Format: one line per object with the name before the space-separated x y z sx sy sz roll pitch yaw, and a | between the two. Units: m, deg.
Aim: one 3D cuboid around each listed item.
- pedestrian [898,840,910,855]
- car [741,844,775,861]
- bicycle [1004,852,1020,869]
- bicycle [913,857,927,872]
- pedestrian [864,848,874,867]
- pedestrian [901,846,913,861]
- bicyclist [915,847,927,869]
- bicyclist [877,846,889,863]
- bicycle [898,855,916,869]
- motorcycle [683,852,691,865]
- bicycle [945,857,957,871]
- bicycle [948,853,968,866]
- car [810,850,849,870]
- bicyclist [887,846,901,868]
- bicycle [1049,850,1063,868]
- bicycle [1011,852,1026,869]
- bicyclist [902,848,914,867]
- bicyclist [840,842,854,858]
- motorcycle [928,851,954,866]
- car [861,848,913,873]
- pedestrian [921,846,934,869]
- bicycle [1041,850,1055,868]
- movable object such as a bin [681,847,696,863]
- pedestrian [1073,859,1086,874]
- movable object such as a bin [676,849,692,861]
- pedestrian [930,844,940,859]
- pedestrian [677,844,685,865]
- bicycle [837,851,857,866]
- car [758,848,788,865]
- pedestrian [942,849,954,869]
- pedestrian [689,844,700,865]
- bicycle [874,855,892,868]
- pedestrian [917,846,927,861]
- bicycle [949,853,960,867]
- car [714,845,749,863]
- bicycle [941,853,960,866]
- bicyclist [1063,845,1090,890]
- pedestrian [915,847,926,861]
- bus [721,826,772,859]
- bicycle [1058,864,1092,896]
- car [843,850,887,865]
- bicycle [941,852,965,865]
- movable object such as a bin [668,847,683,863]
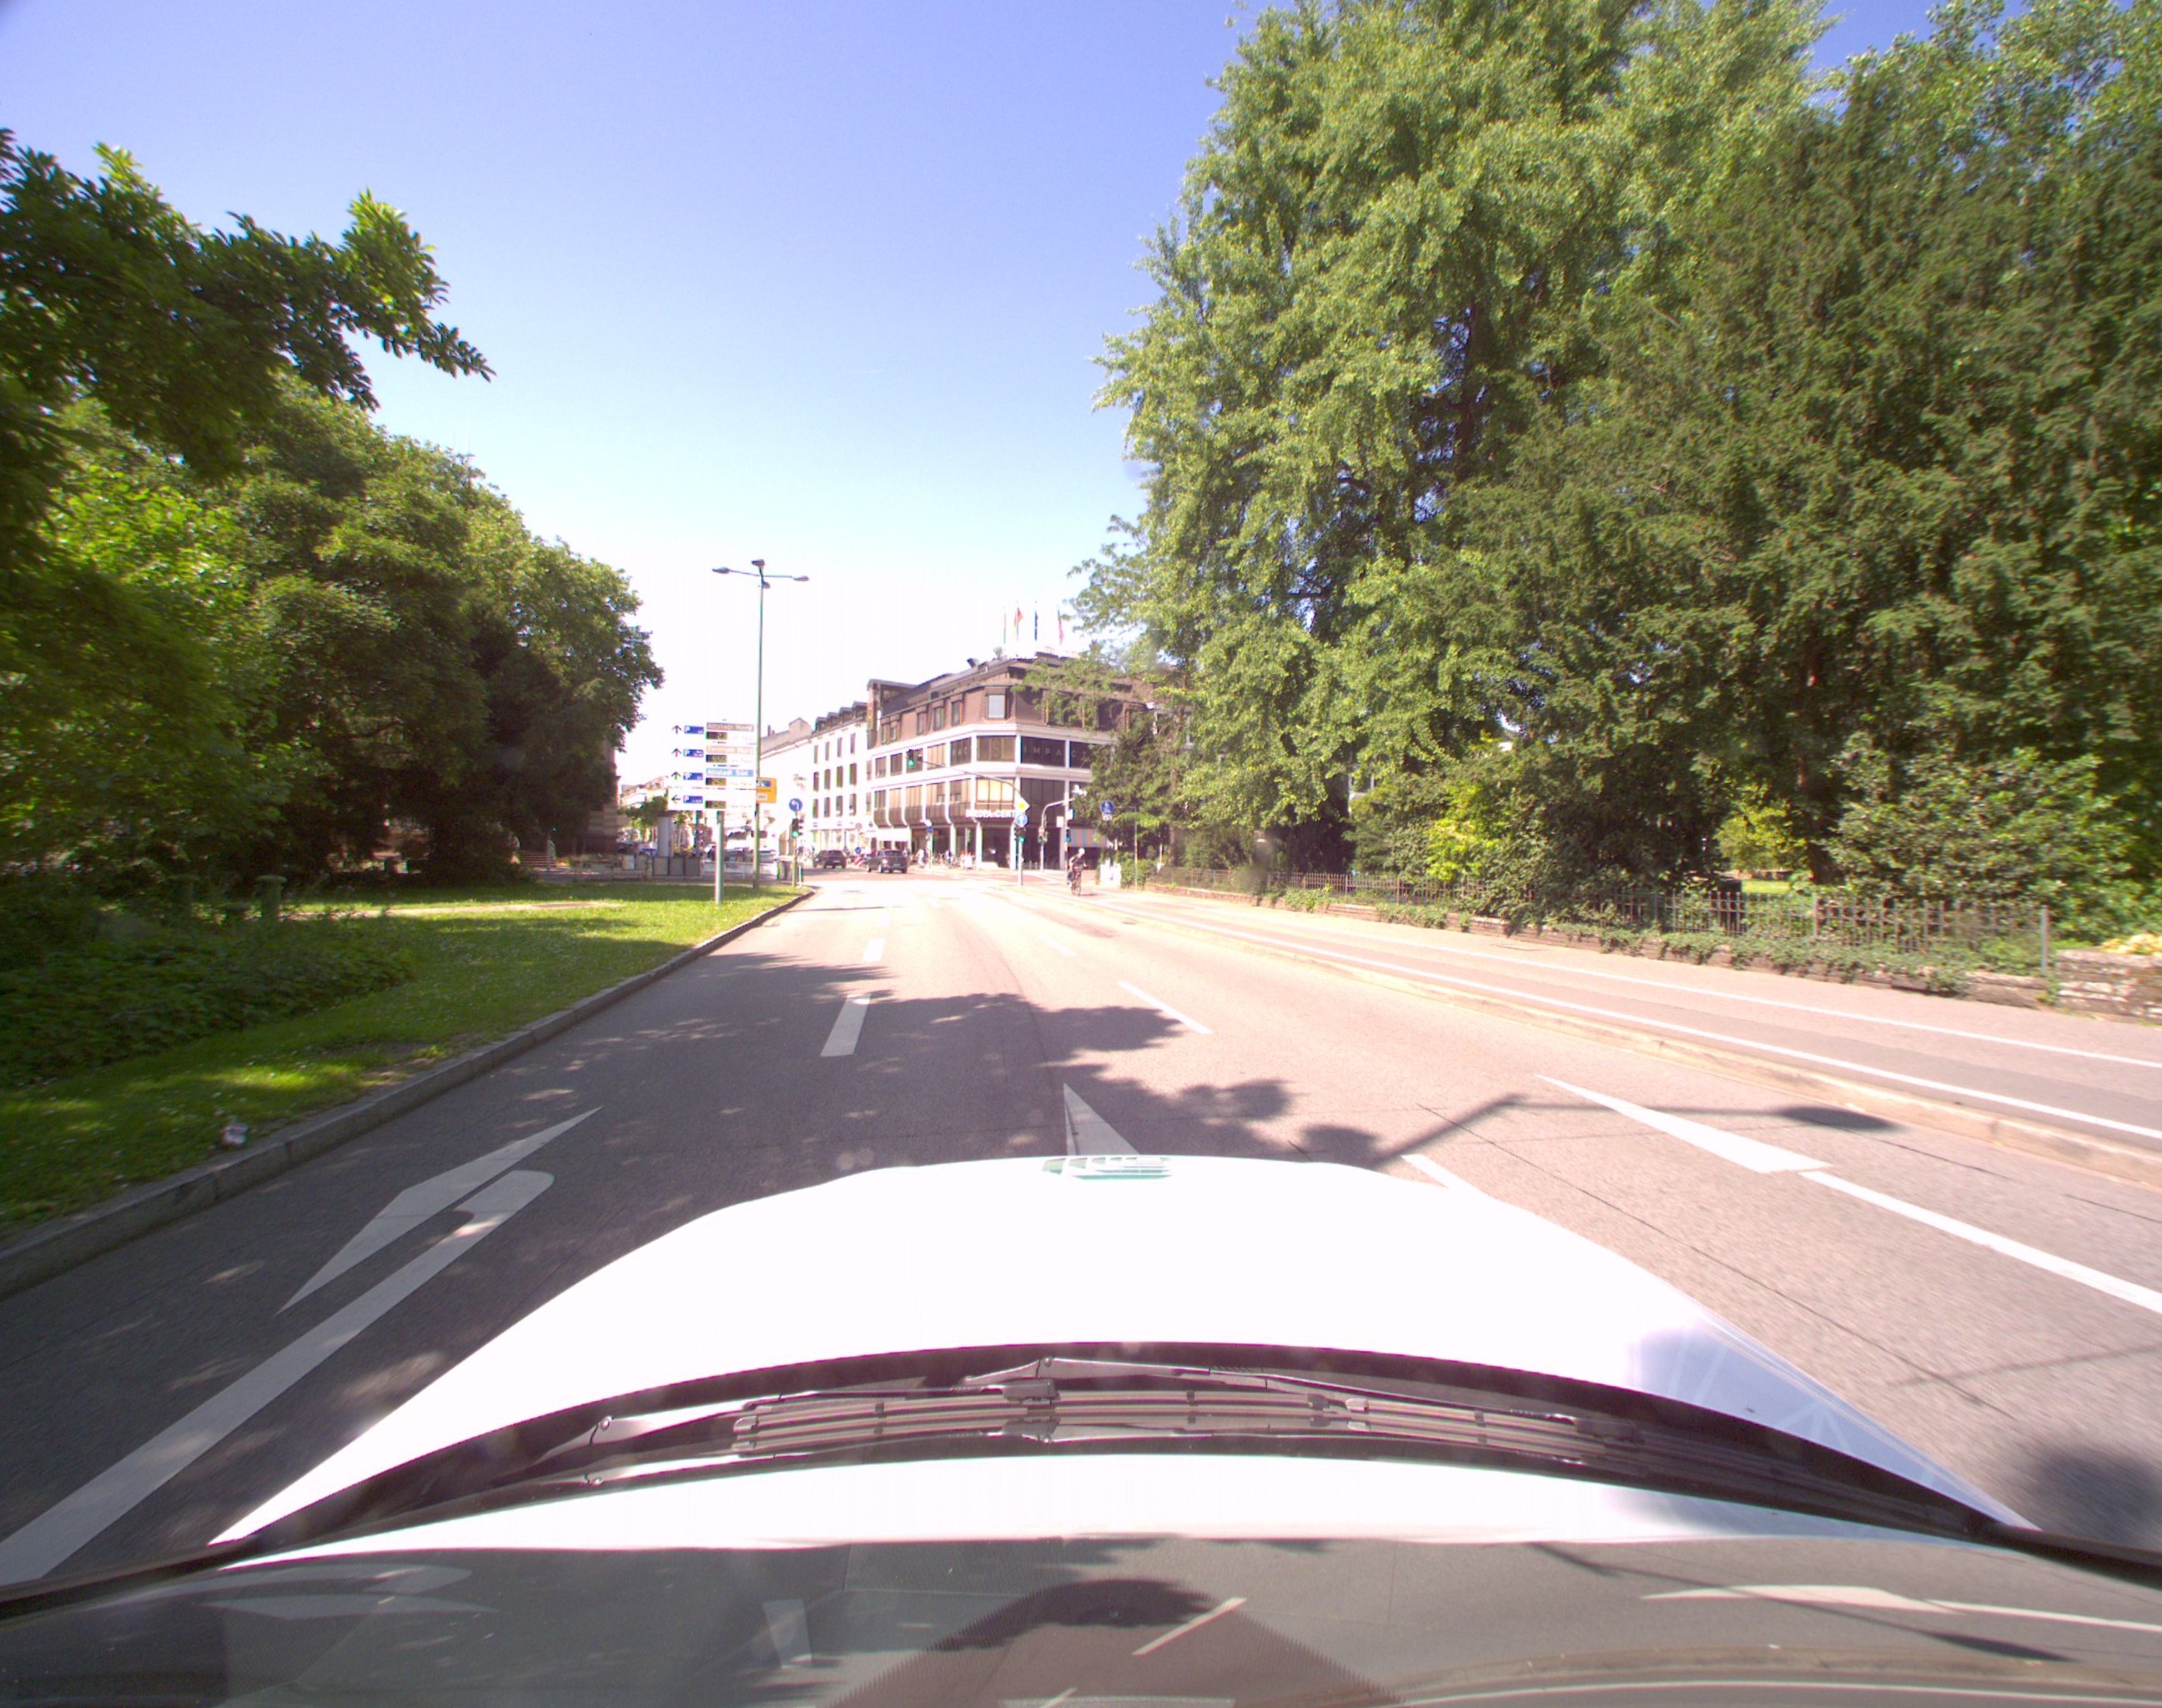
pedestrian | -18.105 -0.661 83.418 0.750 1.366 0.578 -16 10 -35
car | -27.641 -0.125 69.636 1.877 1.441 3.957 0 0 -35
bicycle | -5.540 0.518 65.390 0.525 1.316 1.976 1 2 17
bicycle | -12.538 0.819 63.449 0.597 1.120 1.785 0 1 -27
pedestrian | -19.277 0.299 73.993 0.624 1.719 0.827 1 0 -33
pedestrian | -17.631 -0.019 82.541 0.883 1.368 0.531 15 -9 -36
bicyclist | -12.411 0.298 63.173 0.698 1.625 0.828 0 0 -26
bicyclist | -16.524 0.055 67.917 0.625 1.355 0.837 1 0 -36
bicycle | -14.203 0.663 66.493 0.624 1.099 2.328 1 0 -33
motorcycle | -31.571 0.366 65.271 0.456 0.998 2.143 2 -1 -25
bicycle | -10.863 0.826 67.984 0.278 1.120 2.224 0 1 -27
bicycle | -10.494 0.462 69.553 1.727 1.120 0.275 -1 1 -28
car | -19.989 0.466 64.660 1.846 1.527 3.958 -2 0 -33
bicyclist | -14.575 0.208 63.583 0.699 1.673 0.906 3 0 -34
bicycle | -2.052 0.424 67.940 0.525 1.422 1.976 1 2 17
bicycle | -5.023 0.512 65.302 0.525 1.316 1.867 1 2 17
bicyclist | -14.081 0.247 66.304 0.624 1.529 0.861 1 0 -31
bicyclist | -22.615 -0.388 78.783 0.990 1.599 1.044 1 0 -35
motorcycle | -12.606 0.382 73.473 2.233 1.290 0.946 0 -1 -7
car | -12.759 0.423 53.315 1.848 1.527 3.955 -2 0 -37
pedestrian | -12.607 0.276 66.917 0.837 1.836 0.691 0 -1 -26
bicycle | -2.731 0.428 67.732 0.525 1.422 1.976 1 2 17
movable object such as a bin | -37.994 0.104 78.851 1.130 1.450 1.425 2 0 -29
pedestrian | -0.152 1.085 70.805 0.820 1.334 0.976 1 0 19
movable object such as a bin | -41.279 0.114 84.668 1.286 1.299 0.844 1 0 -35
pedestrian | -13.769 -0.259 77.012 0.716 1.396 0.689 0 -1 -36
pedestrian | -31.948 0.013 65.032 0.552 1.665 0.929 0 -1 -26
bicycle | -22.637 0.460 78.771 0.985 1.386 2.969 1 0 -35
car | -30.205 0.266 79.836 1.847 1.527 3.957 -2 0 -35
pedestrian | -10.965 0.419 67.111 0.837 1.663 0.691 0 -1 -26
pedestrian | -30.892 0.042 65.083 0.699 1.695 0.684 0 -1 -32
bicycle | -16.536 0.612 67.934 0.625 1.099 2.327 1 0 -36
pedestrian | -15.290 -0.068 78.477 0.716 1.396 0.689 0 -1 -36
bicycle | -10.625 0.530 68.436 0.278 1.120 2.224 0 1 -27
car | -28.414 -0.015 66.113 1.950 1.354 4.206 0 1 -33
bicycle | -11.234 0.453 70.150 1.580 1.120 0.275 -1 1 -28
bicyclist | -0.172 0.497 30.199 0.766 1.636 0.938 0 -1 -16
pedestrian | -15.652 0.012 79.244 0.819 1.396 0.689 0 -1 -37
bus | -41.130 -1.375 99.868 2.903 3.742 12.292 3 -1 -36
bicycle | -0.245 0.954 30.455 0.759 1.120 1.991 0 -1 -15
car | -22.329 0.317 84.197 4.073 1.495 1.822 0 -1 -33
bicycle | -11.230 0.432 71.402 2.255 1.120 0.274 0 1 -42
movable object such as a bin | -38.982 0.107 78.290 1.130 1.450 1.425 2 0 -29
